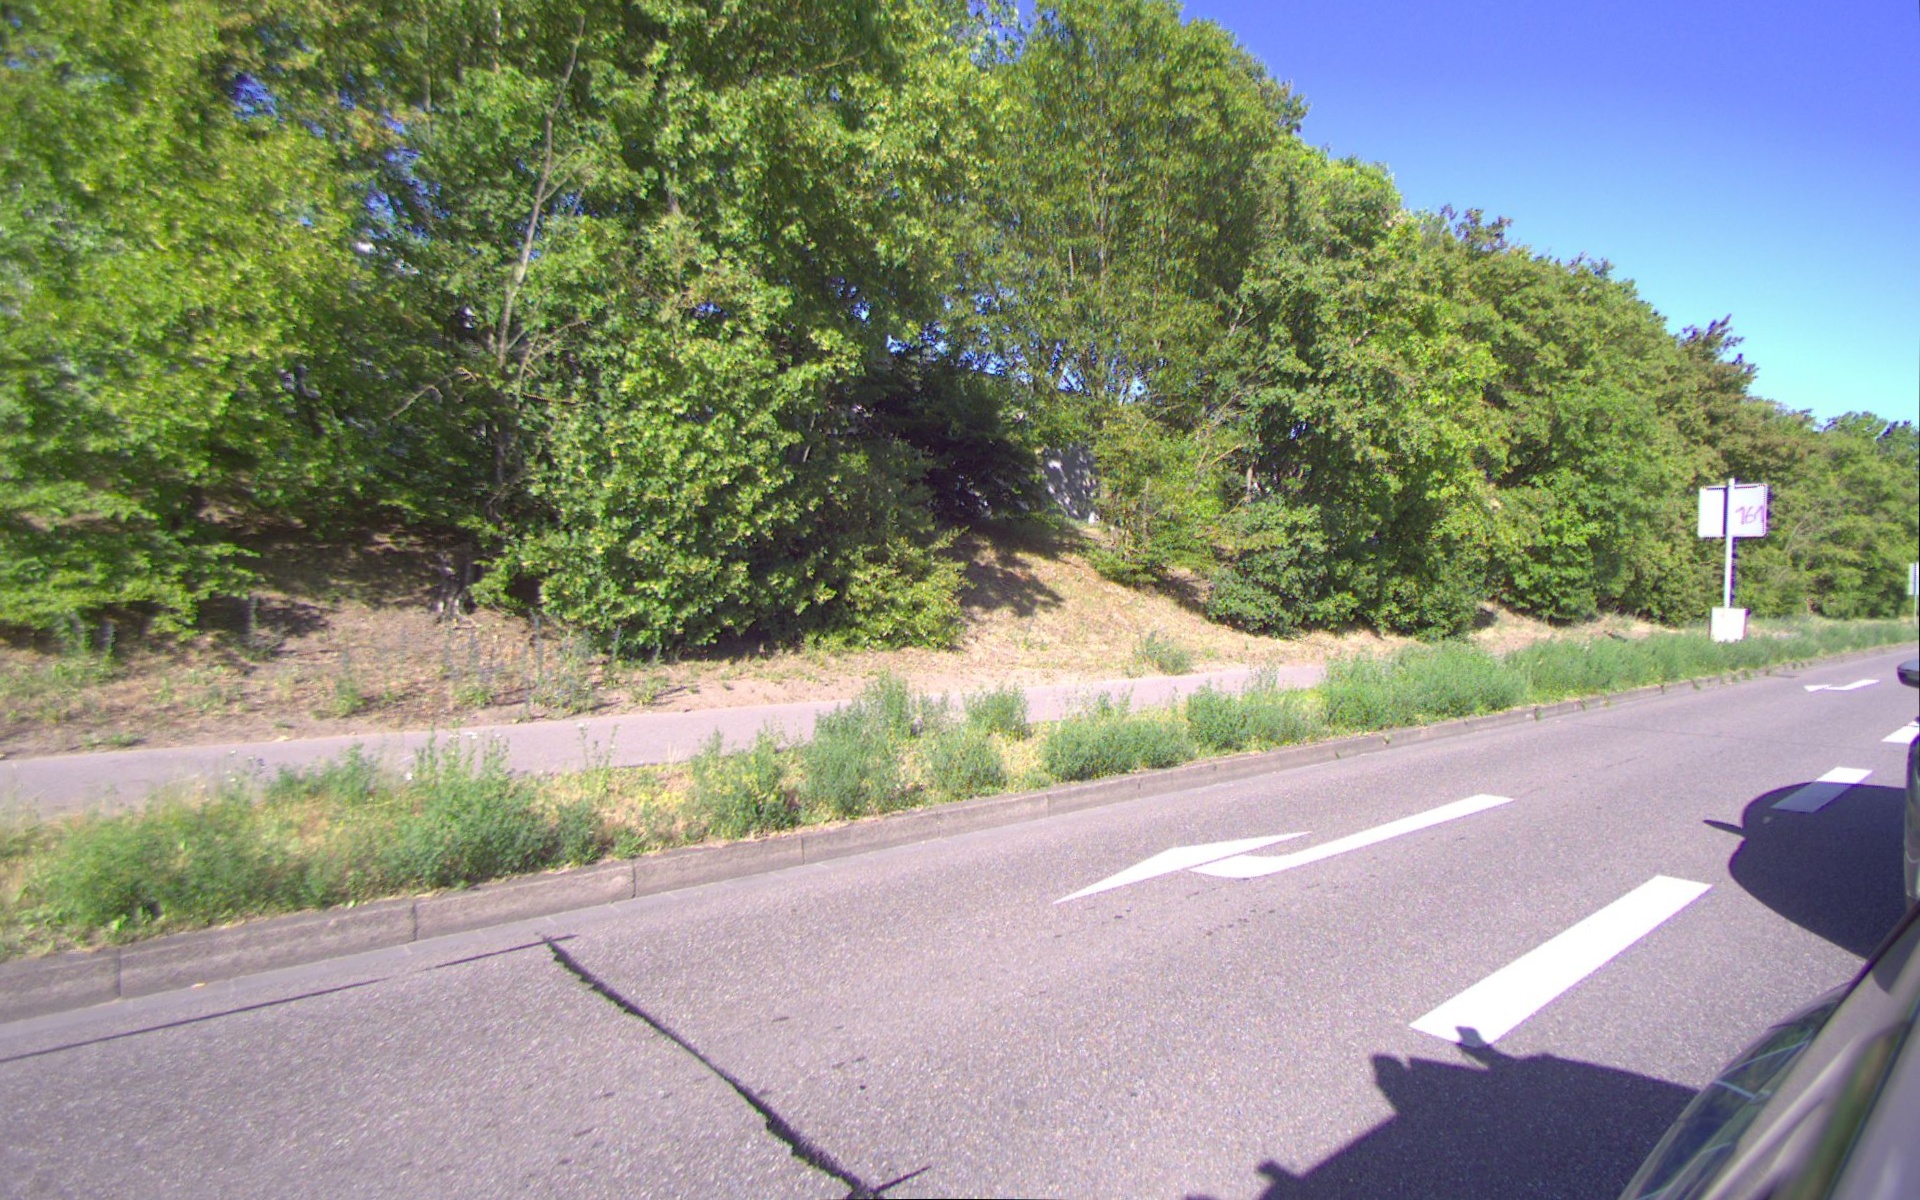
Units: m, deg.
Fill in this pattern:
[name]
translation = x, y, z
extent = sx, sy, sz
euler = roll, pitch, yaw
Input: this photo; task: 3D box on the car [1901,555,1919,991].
[car]
translation = 5.593, 0.658, 4.347
extent = 3.863, 1.617, 1.869
euler = 0, 0, -41
